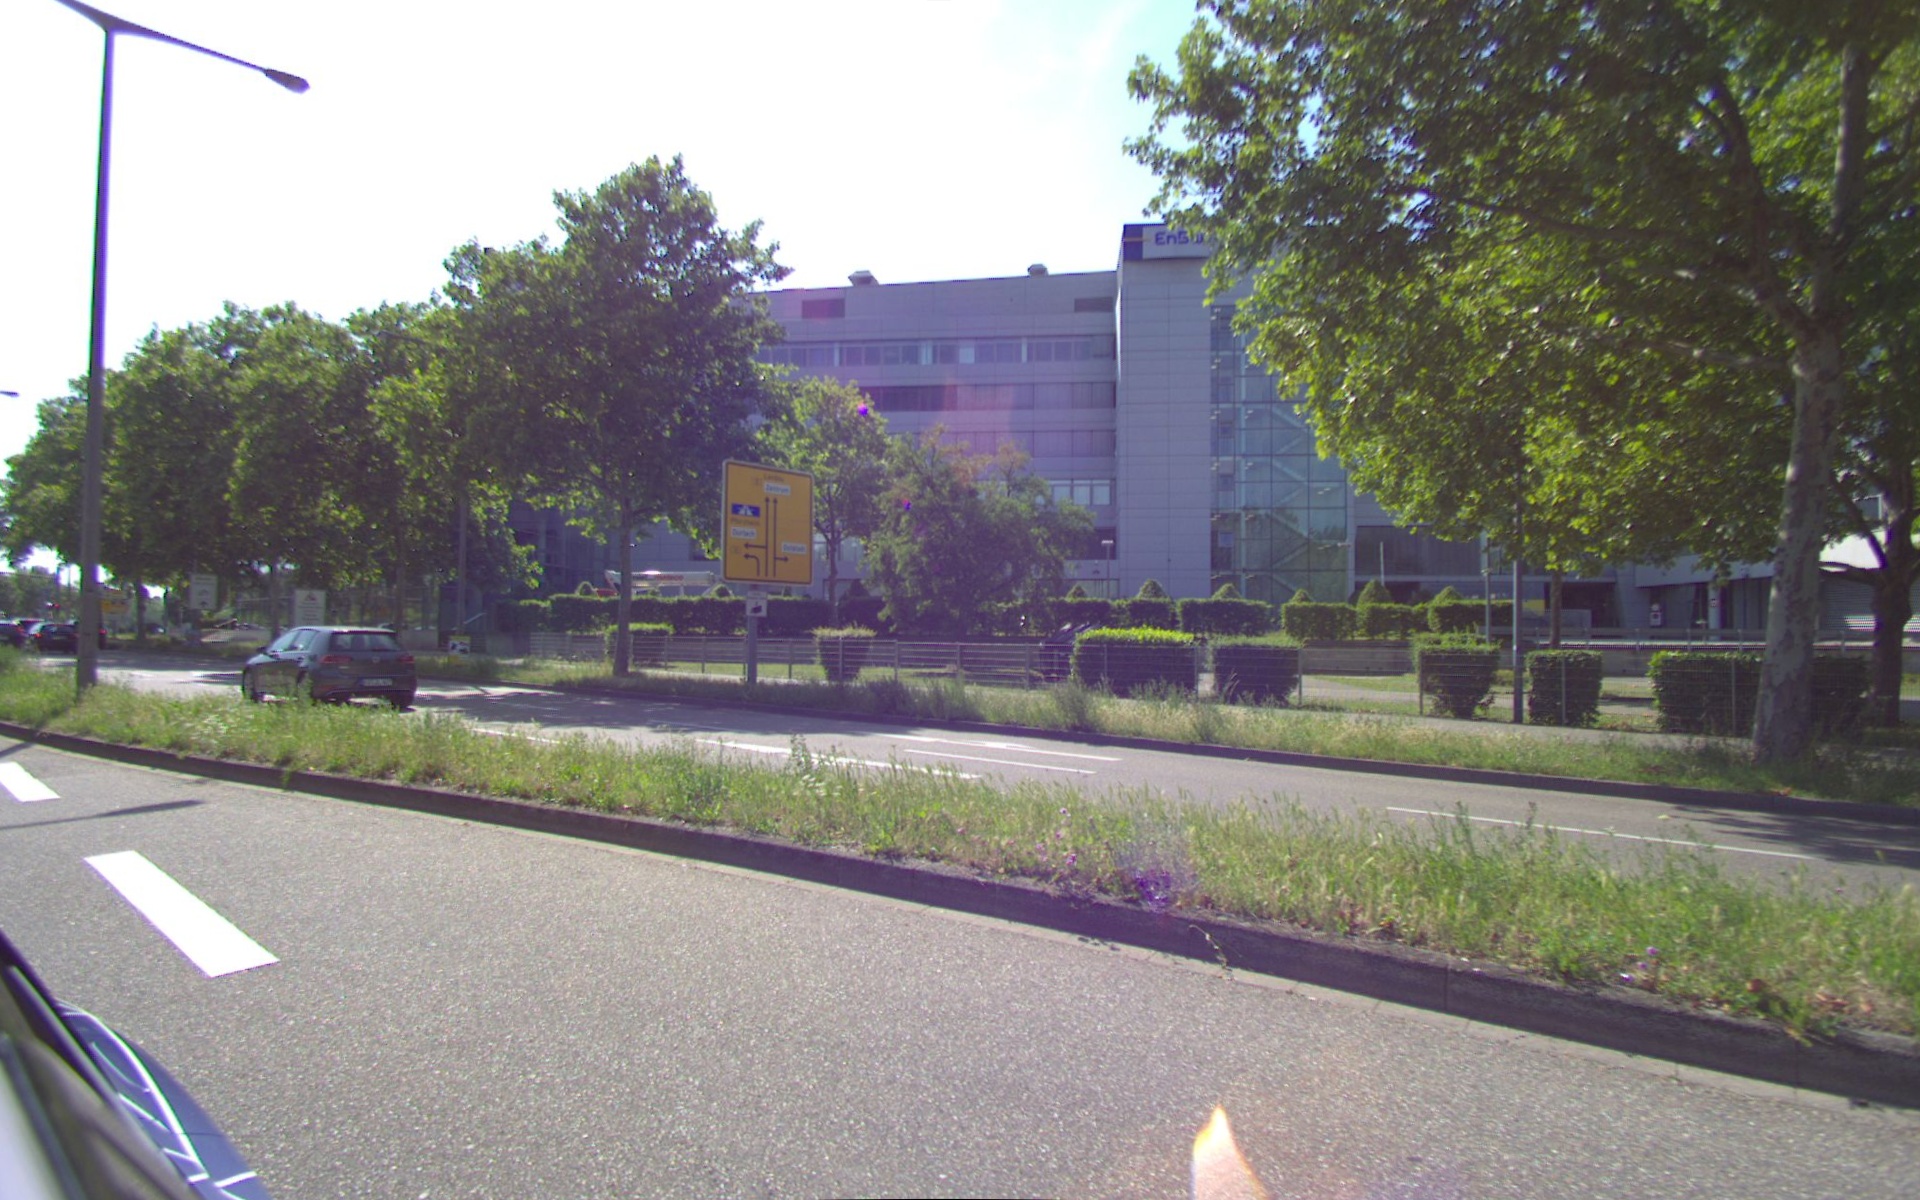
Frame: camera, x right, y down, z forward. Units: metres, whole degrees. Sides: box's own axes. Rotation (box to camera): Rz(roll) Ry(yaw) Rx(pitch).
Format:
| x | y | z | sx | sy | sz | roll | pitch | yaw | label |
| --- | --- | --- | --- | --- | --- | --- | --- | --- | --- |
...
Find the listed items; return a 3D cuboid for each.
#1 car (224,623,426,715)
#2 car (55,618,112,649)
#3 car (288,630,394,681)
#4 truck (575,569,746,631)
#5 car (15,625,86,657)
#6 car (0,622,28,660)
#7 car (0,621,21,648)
| x | y | z | sx | sy | sz | roll | pitch | yaw | label |
| --- | --- | --- | --- | --- | --- | --- | --- | --- | --- |
| -11.702 | 1.201 | 18.560 | 4.160 | 1.490 | 1.822 | -1 | -3 | 38 | car |
| -54.347 | 2.104 | 62.754 | 4.648 | 1.849 | 1.973 | -2 | -4 | 41 | car |
| -18.909 | 1.670 | 30.842 | 4.001 | 1.473 | 1.743 | -2 | -4 | 44 | car |
| -16.870 | 0.035 | 57.298 | 8.875 | 3.422 | 2.669 | 0 | -2 | 5 | truck |
| -44.589 | 2.001 | 49.577 | 4.983 | 1.479 | 1.809 | -1 | -3 | 40 | car |
| -39.300 | 1.657 | 40.979 | 4.669 | 1.479 | 1.754 | -2 | -4 | 41 | car |
| -60.034 | 2.175 | 62.844 | 4.493 | 1.623 | 1.973 | -2 | -4 | 41 | car |
